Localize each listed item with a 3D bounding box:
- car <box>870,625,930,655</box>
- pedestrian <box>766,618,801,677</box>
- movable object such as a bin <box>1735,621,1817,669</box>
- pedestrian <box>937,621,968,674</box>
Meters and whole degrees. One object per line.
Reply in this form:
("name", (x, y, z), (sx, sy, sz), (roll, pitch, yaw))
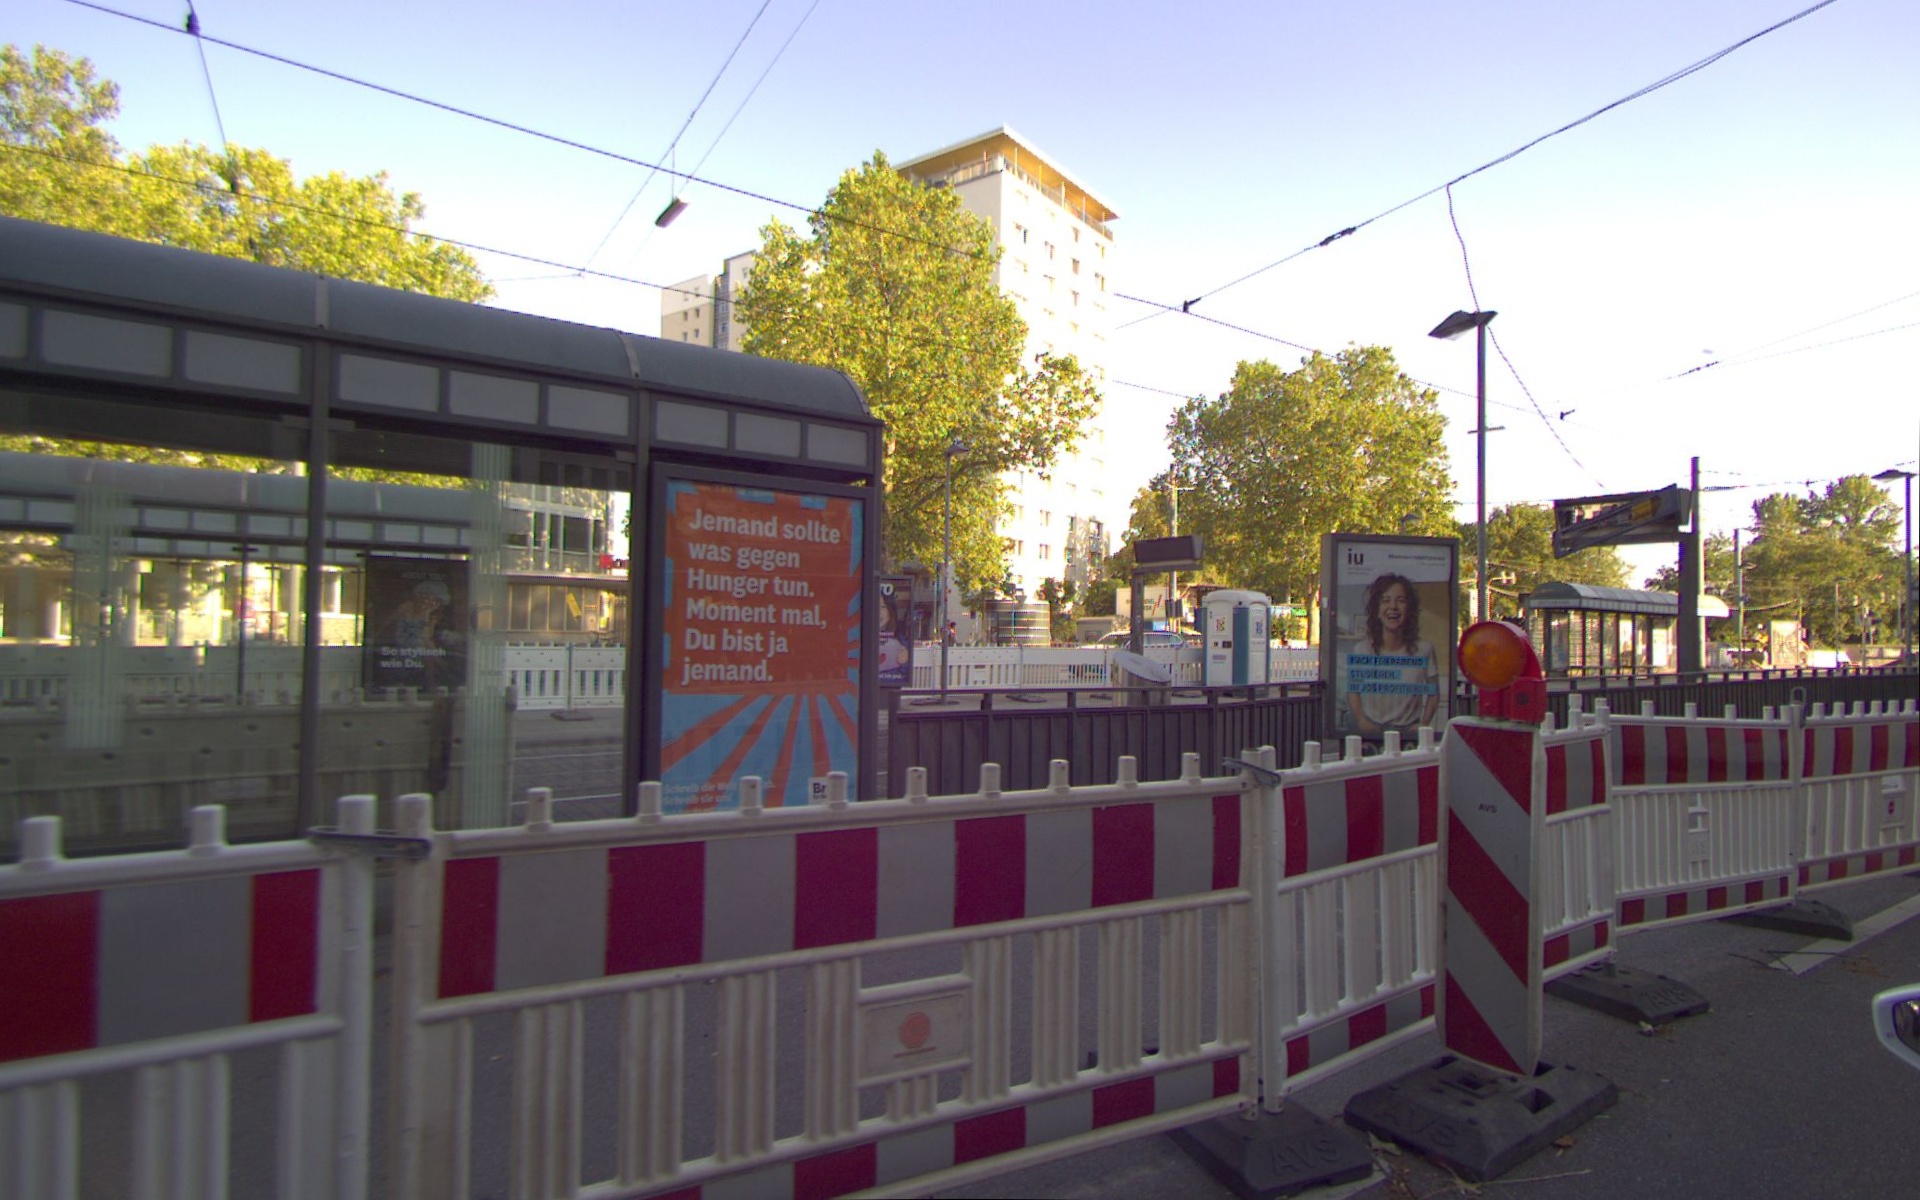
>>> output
("car", (-4.260, 2.874, 72.226), (1.964, 2.040, 4.905), (0, -2, 30))
("pedestrian", (-6.238, 1.668, 35.513), (0.880, 2.040, 0.874), (2, -2, -39))
("movable object such as a bin", (47.047, 2.594, 57.913), (4.544, 2.673, 2.142), (2, -2, -29))
("pedestrian", (-0.292, 1.850, 39.332), (0.873, 2.040, 0.881), (1, -2, -28))
